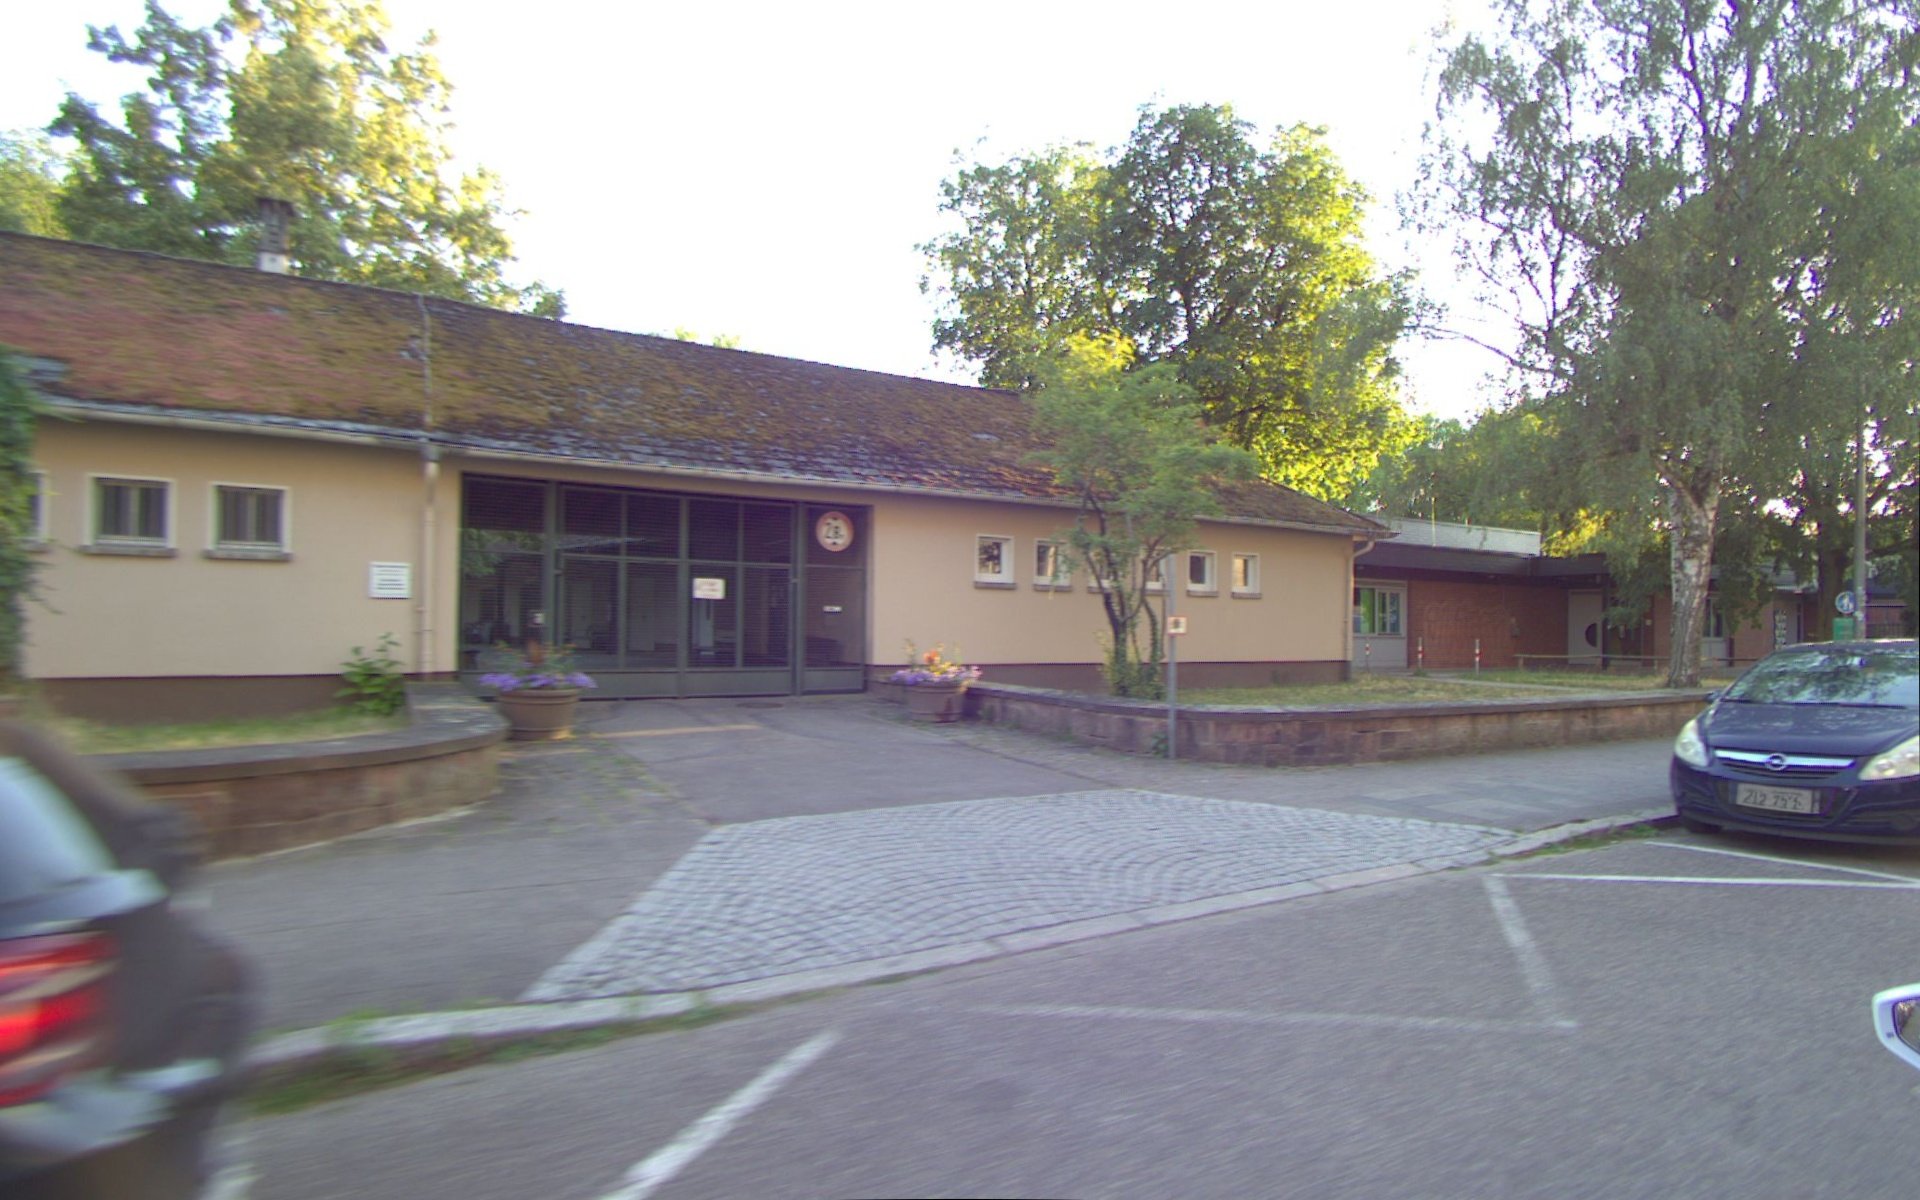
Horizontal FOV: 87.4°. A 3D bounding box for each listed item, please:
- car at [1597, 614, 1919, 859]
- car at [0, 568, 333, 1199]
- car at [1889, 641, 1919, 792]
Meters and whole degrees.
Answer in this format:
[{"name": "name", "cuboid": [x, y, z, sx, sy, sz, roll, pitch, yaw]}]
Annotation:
[{"name": "car", "cuboid": [7.021, 0.883, 7.919, 3.959, 1.472, 1.981, 1, -1, -34]}, {"name": "car", "cuboid": [-3.400, 0.656, 1.353, 4.238, 1.472, 1.984, 1, -1, -31]}, {"name": "car", "cuboid": [11.684, 1.152, 10.431, 4.695, 1.464, 1.773, 2, -4, -32]}]
